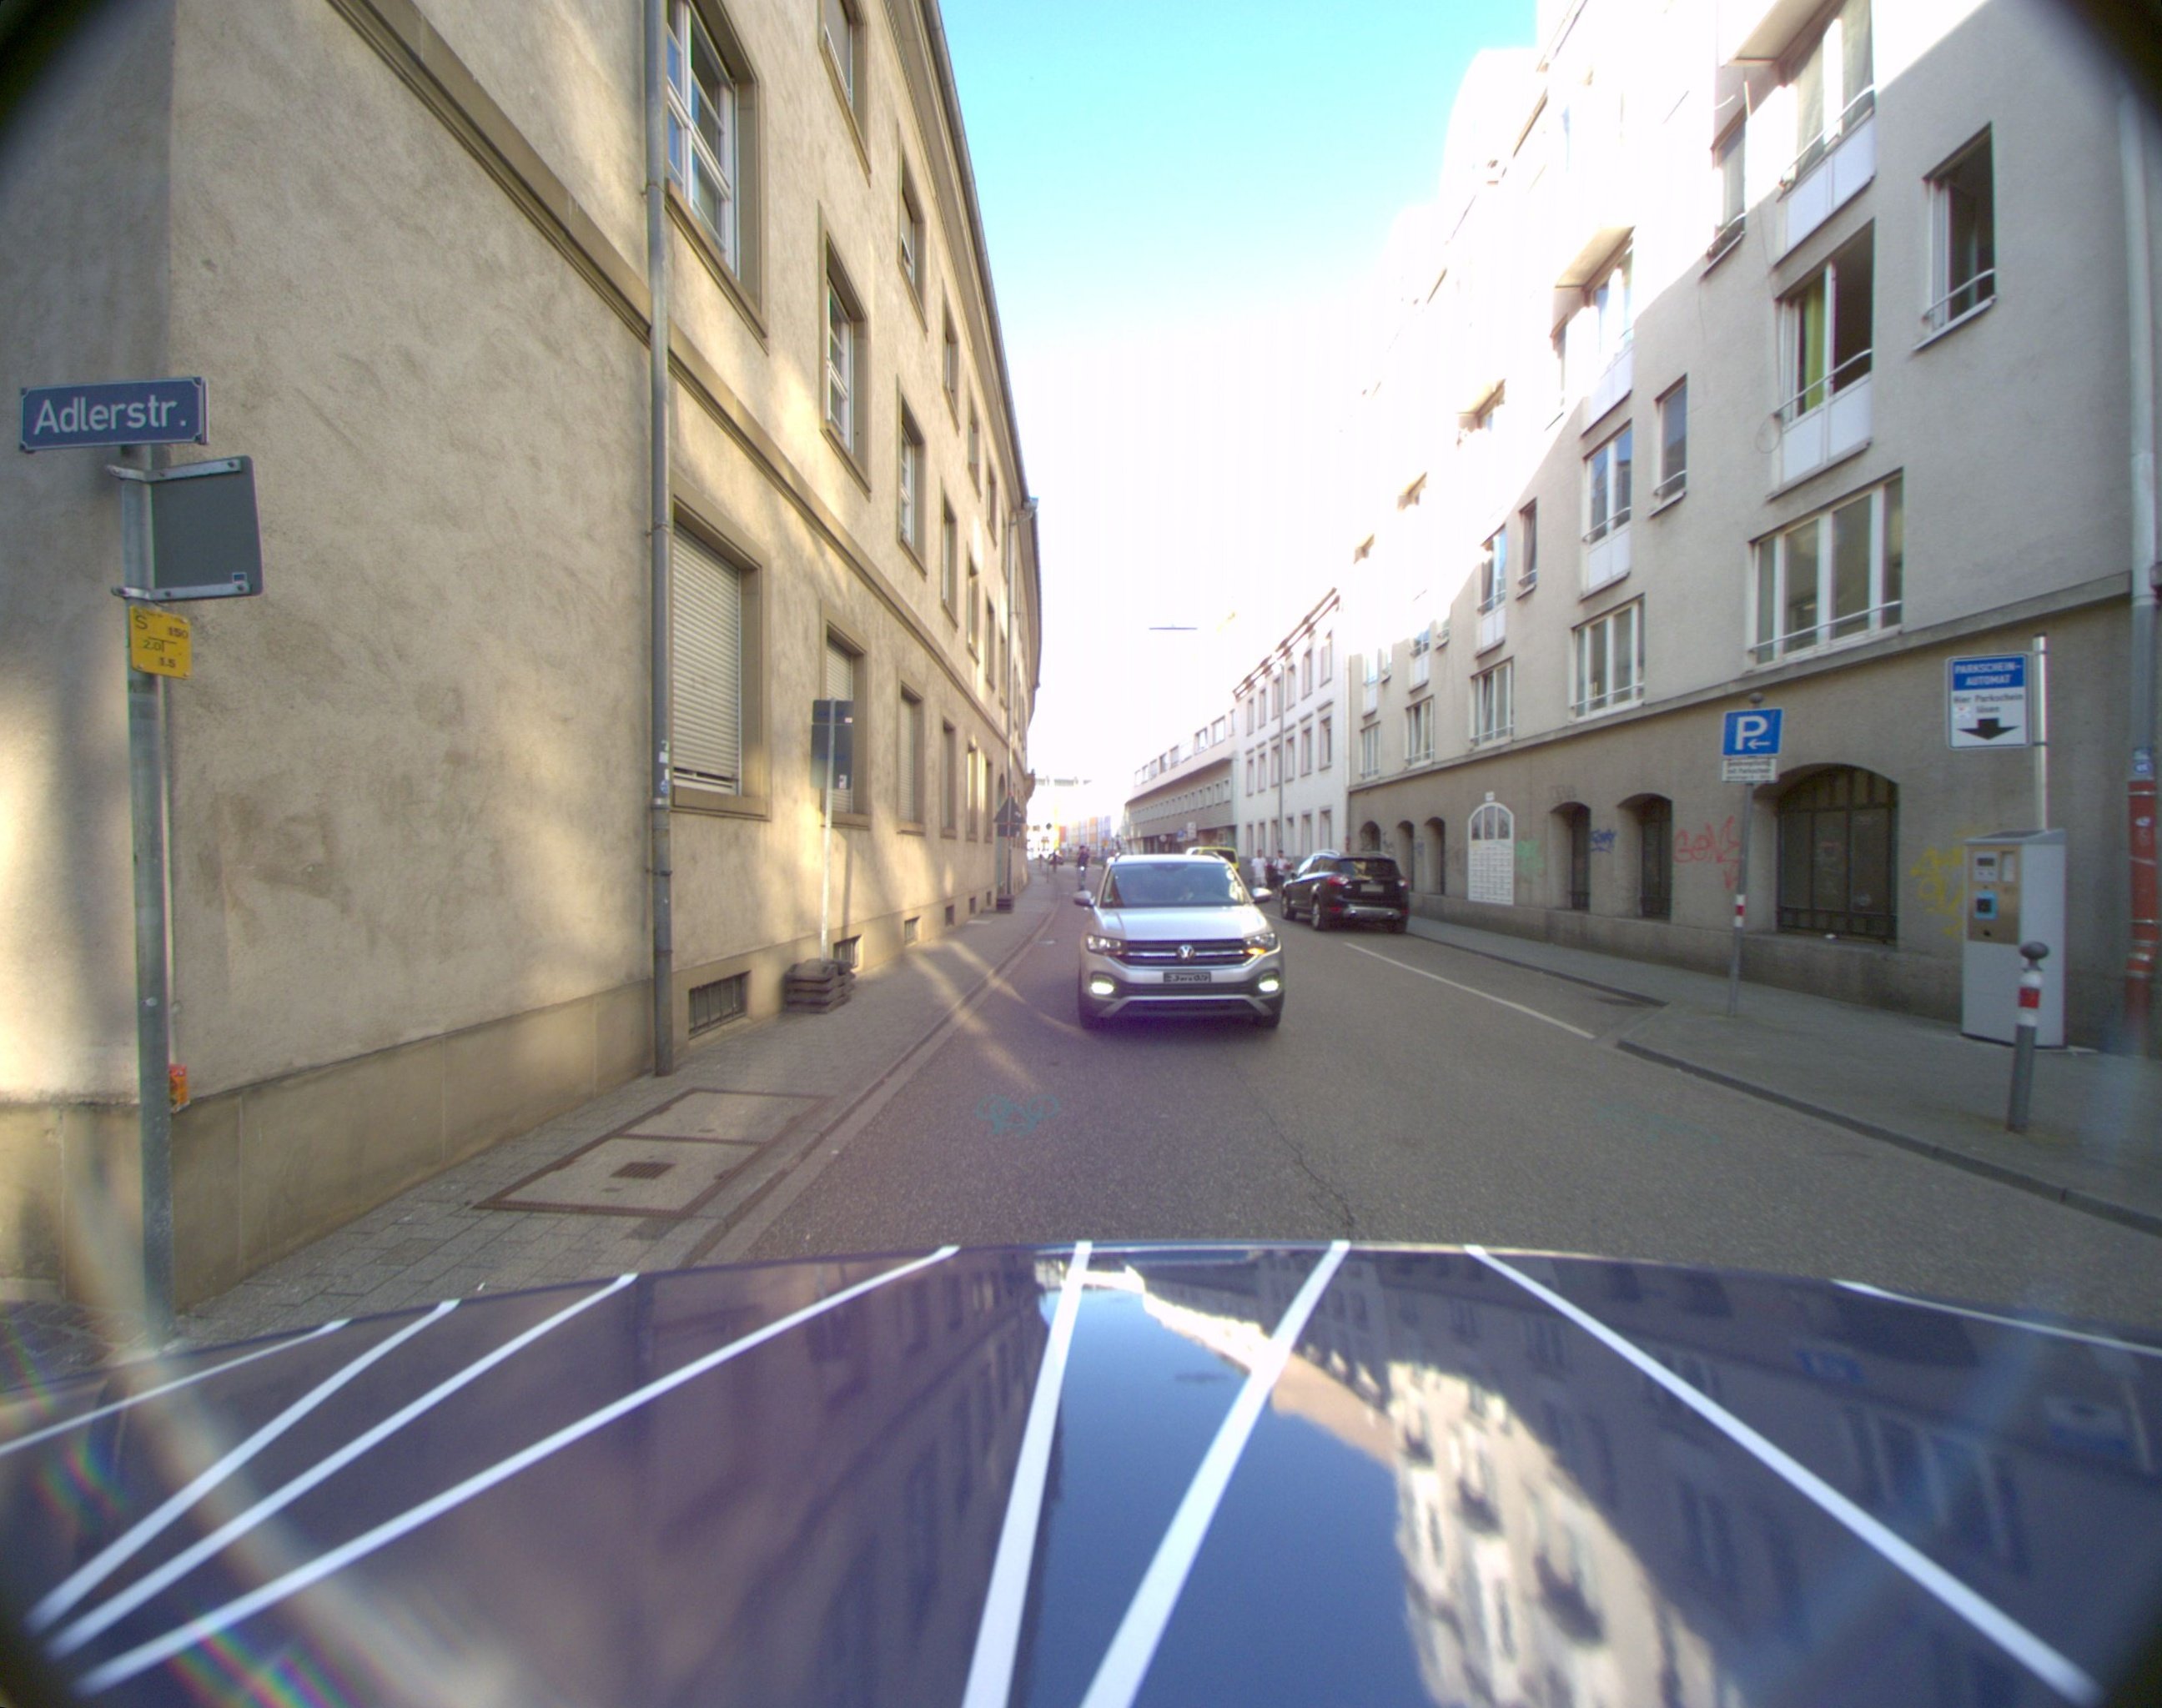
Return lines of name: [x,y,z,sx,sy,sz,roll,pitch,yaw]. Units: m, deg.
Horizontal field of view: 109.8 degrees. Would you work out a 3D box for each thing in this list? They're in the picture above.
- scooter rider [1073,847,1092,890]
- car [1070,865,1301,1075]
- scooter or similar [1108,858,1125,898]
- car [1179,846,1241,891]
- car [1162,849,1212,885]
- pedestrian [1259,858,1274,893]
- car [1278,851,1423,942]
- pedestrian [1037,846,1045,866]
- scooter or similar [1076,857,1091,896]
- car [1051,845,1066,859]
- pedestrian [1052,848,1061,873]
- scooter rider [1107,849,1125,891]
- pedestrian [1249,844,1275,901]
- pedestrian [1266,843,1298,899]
scooter rider: [0.073,0.544,28.610,0.647,1.584,0.600,-2,1,1]
car: [0.819,0.916,7.819,1.762,1.537,4.000,0,0,1]
scooter or similar: [1.290,0.847,27.636,0.550,1.388,1.555,0,1,1]
car: [5.591,0.581,33.318,1.888,1.863,3.999,0,1,-2]
car: [5.479,0.632,39.745,1.888,1.758,3.999,2,0,-2]
pedestrian: [7.683,0.872,31.438,0.556,1.439,0.583,0,1,11]
car: [5.788,0.826,16.881,1.888,1.694,4.001,2,0,3]
pedestrian: [-4.050,0.173,77.144,0.715,2.002,0.699,0,1,0]
scooter or similar: [0.093,0.817,28.459,0.523,1.388,1.555,0,1,1]
car: [-3.139,-0.334,105.110,1.889,1.863,3.998,2,0,-5]
pedestrian: [-1.962,0.536,61.629,0.715,2.002,0.699,0,1,0]
scooter rider: [1.272,0.574,27.648,0.591,1.499,0.600,-2,1,1]
pedestrian: [6.367,0.646,26.773,0.715,2.002,0.699,0,1,0]
pedestrian: [7.180,0.598,27.140,0.937,2.002,0.699,0,1,0]
